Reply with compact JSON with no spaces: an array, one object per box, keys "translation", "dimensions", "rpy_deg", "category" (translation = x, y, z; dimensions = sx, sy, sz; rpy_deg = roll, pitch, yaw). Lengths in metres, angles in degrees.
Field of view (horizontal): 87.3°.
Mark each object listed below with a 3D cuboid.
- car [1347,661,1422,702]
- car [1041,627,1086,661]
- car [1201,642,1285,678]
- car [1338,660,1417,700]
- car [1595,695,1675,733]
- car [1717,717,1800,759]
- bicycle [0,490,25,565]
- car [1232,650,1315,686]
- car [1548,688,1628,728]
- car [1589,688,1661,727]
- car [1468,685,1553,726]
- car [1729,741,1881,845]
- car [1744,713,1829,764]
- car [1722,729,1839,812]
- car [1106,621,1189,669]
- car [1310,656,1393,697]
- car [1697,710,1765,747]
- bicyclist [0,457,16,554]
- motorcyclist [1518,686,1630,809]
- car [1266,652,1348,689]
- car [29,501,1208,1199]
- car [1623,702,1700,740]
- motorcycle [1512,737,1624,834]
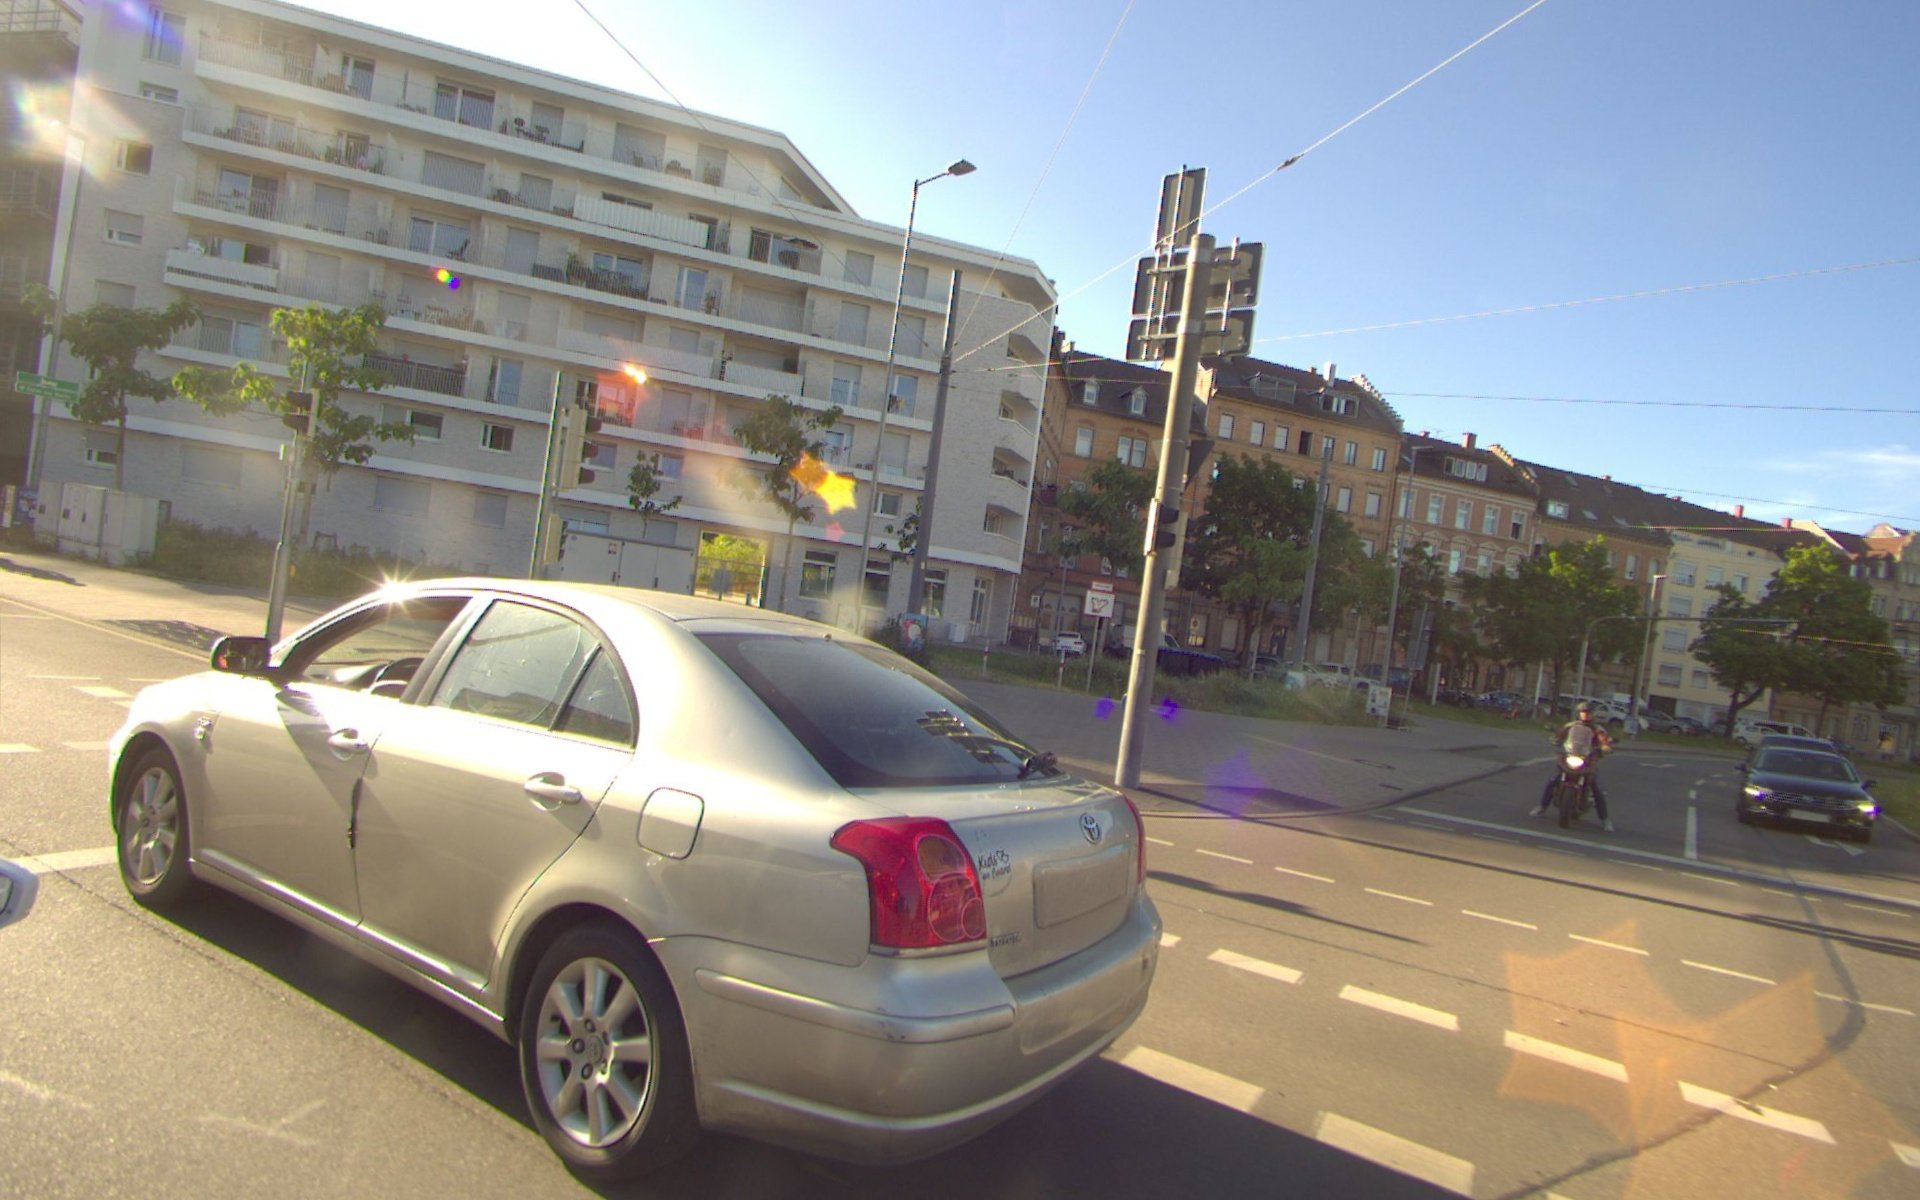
[{"translation":[29.655,5.679,70.290],"dimensions":[4.345,2.216,1.993],"rpy_deg":[8,0,-15],"category":"car"},{"translation":[5.631,2.354,54.493],"dimensions":[1.962,1.504,4.003],"rpy_deg":[8,0,10],"category":"car"},{"translation":[15.800,3.356,56.317],"dimensions":[1.987,1.370,3.953],"rpy_deg":[8,0,-42],"category":"car"},{"translation":[26.147,4.992,63.110],"dimensions":[1.985,1.793,3.956],"rpy_deg":[8,0,-39],"category":"car"},{"translation":[43.419,7.325,64.738],"dimensions":[3.941,1.793,1.993],"rpy_deg":[8,0,39],"category":"car"},{"translation":[53.900,9.286,67.961],"dimensions":[1.988,1.794,3.948],"rpy_deg":[8,5,-43],"category":"car"},{"translation":[-17.881,-1.434,17.907],"dimensions":[2.042,1.277,0.769],"rpy_deg":[9,0,16],"category":"bicycle"},{"translation":[17.883,3.873,57.476],"dimensions":[1.987,1.370,3.953],"rpy_deg":[8,0,-42],"category":"car"},{"translation":[39.644,6.812,63.559],"dimensions":[3.941,1.793,1.993],"rpy_deg":[8,0,39],"category":"car"},{"translation":[50.685,8.180,76.745],"dimensions":[4.120,2.216,1.996],"rpy_deg":[8,0,-10],"category":"car"},{"translation":[33.817,6.457,61.859],"dimensions":[1.987,1.798,3.952],"rpy_deg":[8,0,-42],"category":"car"},{"translation":[15.494,3.459,18.645],"dimensions":[1.743,1.416,4.244],"rpy_deg":[5,-3,36],"category":"car"},{"translation":[57.278,9.569,69.775],"dimensions":[1.988,2.438,3.948],"rpy_deg":[8,5,-43],"category":"car"},{"translation":[21.542,4.448,26.586],"dimensions":[1.969,1.636,4.532],"rpy_deg":[8,-2,36],"category":"car"},{"translation":[12.074,2.909,64.873],"dimensions":[4.531,2.338,1.995],"rpy_deg":[9,0,-13],"category":"car"},{"translation":[23.106,4.501,59.413],"dimensions":[1.987,1.793,3.953],"rpy_deg":[8,0,-42],"category":"car"},{"translation":[61.580,10.261,80.365],"dimensions":[3.934,2.216,1.996],"rpy_deg":[8,0,-10],"category":"car"},{"translation":[-17.637,-1.765,17.847],"dimensions":[0.913,1.727,0.769],"rpy_deg":[9,0,16],"category":"bicyclist"},{"translation":[8.813,2.093,14.455],"dimensions":[1.152,1.499,0.926],"rpy_deg":[9,0,33],"category":"motorcyclist"},{"translation":[20.117,4.076,58.426],"dimensions":[1.987,1.504,3.953],"rpy_deg":[8,0,-42],"category":"car"},{"translation":[-1.611,0.677,3.928],"dimensions":[4.551,1.499,1.749],"rpy_deg":[8,-1,32],"category":"car"},{"translation":[46.410,8.010,66.578],"dimensions":[3.941,1.793,1.993],"rpy_deg":[8,0,39],"category":"car"},{"translation":[8.764,2.609,14.500],"dimensions":[1.152,1.012,2.457],"rpy_deg":[9,-1,32],"category":"motorcycle"}]
